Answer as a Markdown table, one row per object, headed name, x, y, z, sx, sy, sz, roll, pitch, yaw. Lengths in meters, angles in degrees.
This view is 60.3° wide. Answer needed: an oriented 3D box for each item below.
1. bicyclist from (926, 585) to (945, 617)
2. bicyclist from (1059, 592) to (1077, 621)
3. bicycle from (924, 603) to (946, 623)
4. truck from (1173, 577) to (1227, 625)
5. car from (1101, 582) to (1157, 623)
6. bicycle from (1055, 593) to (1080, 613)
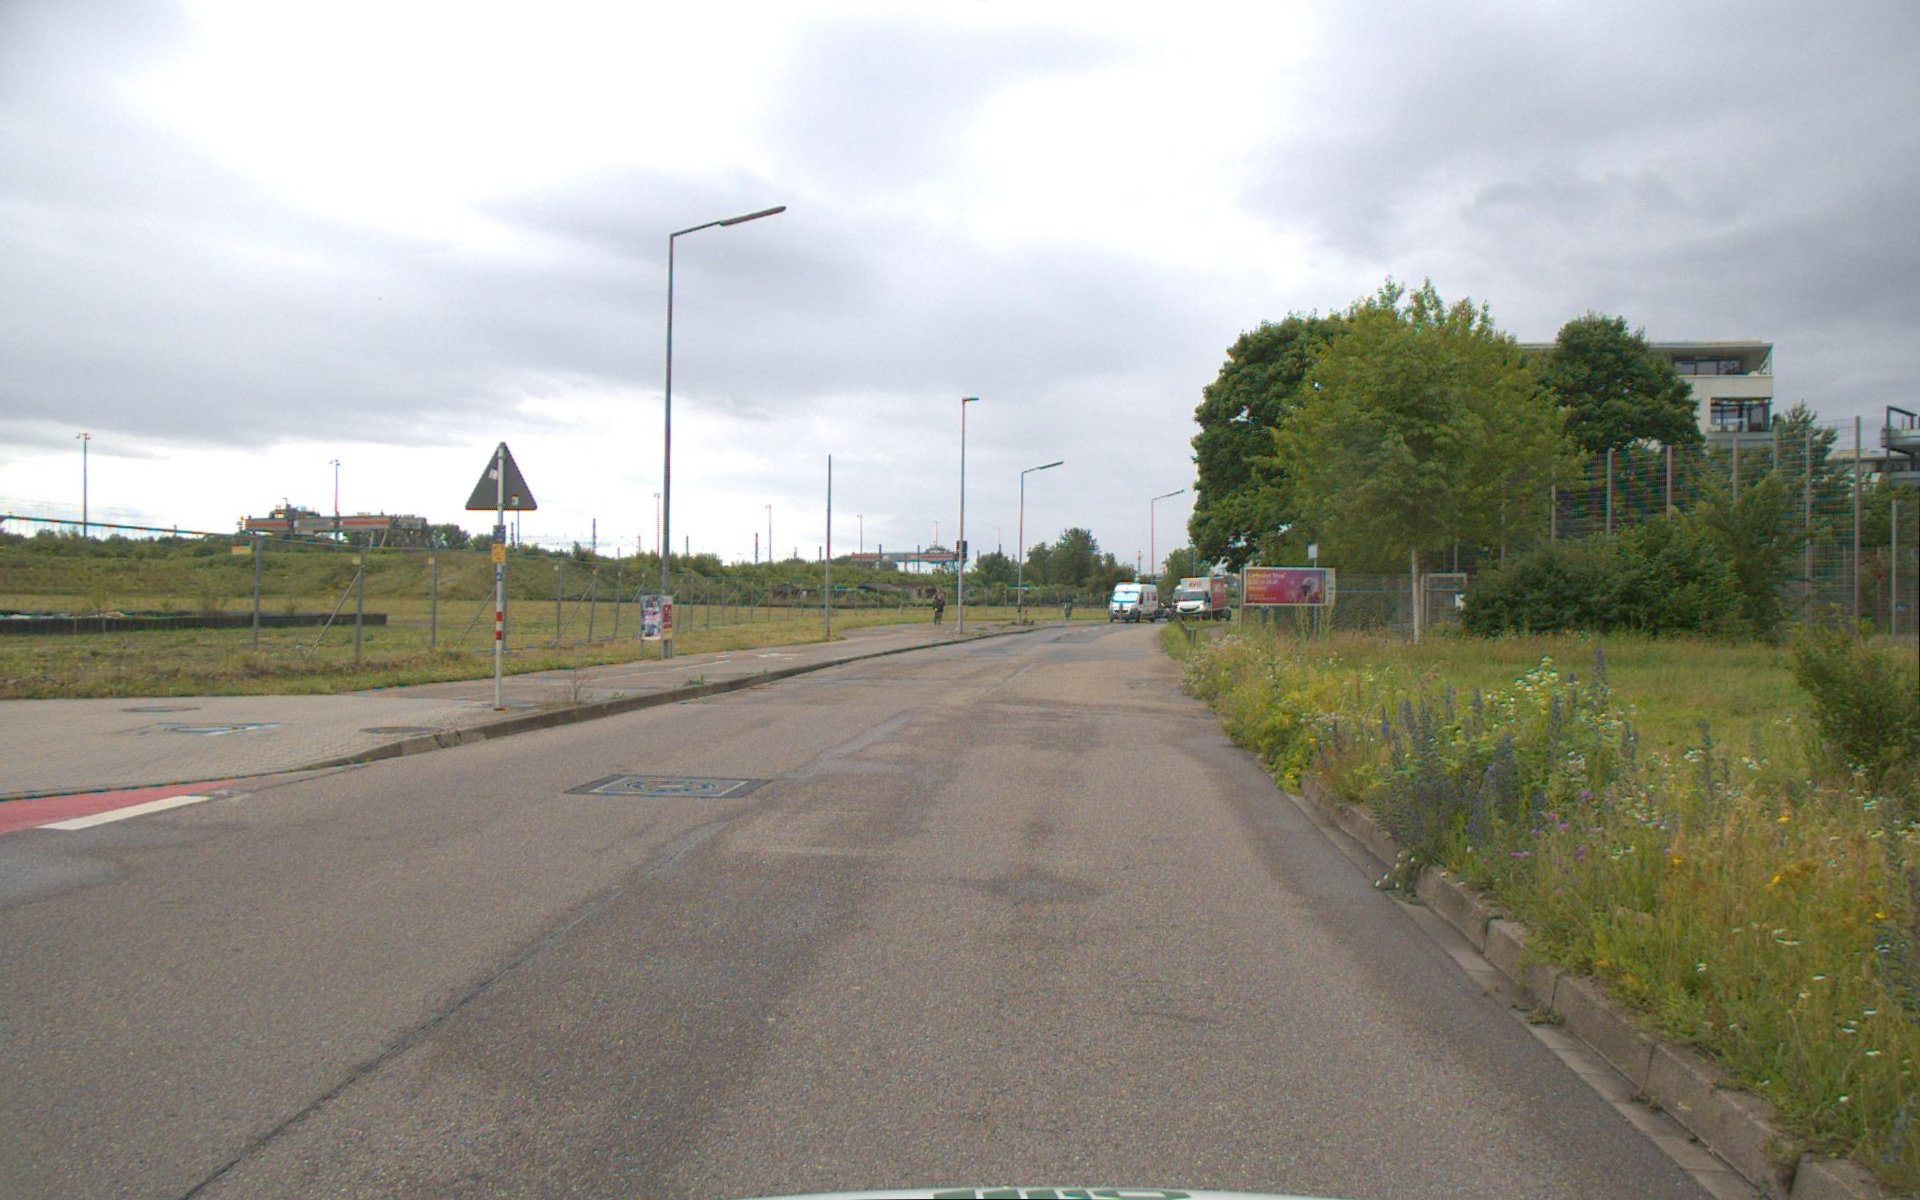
| name | x | y | z | sx | sy | sz | roll | pitch | yaw |
| --- | --- | --- | --- | --- | --- | --- | --- | --- | --- |
| bicyclist | -1.184 | 0.040 | 79.732 | 0.765 | 1.553 | 1.095 | 0 | 0 | 7 |
| bicyclist | 6.890 | 0.401 | 105.428 | 0.810 | 1.853 | 1.330 | 1 | 0 | 21 |
| bicycle | -1.185 | 0.613 | 79.724 | 0.786 | 0.923 | 2.234 | 0 | 1 | 7 |
| truck | 16.628 | 0.052 | 114.141 | 2.292 | 3.115 | 7.500 | -2 | 0 | 18 |
| car | 11.198 | 0.132 | 109.246 | 2.241 | 2.600 | 6.412 | 0 | 0 | 20 |
| bicycle | 6.858 | 0.159 | 105.387 | 0.802 | 1.225 | 2.557 | 1 | 1 | 21 |
